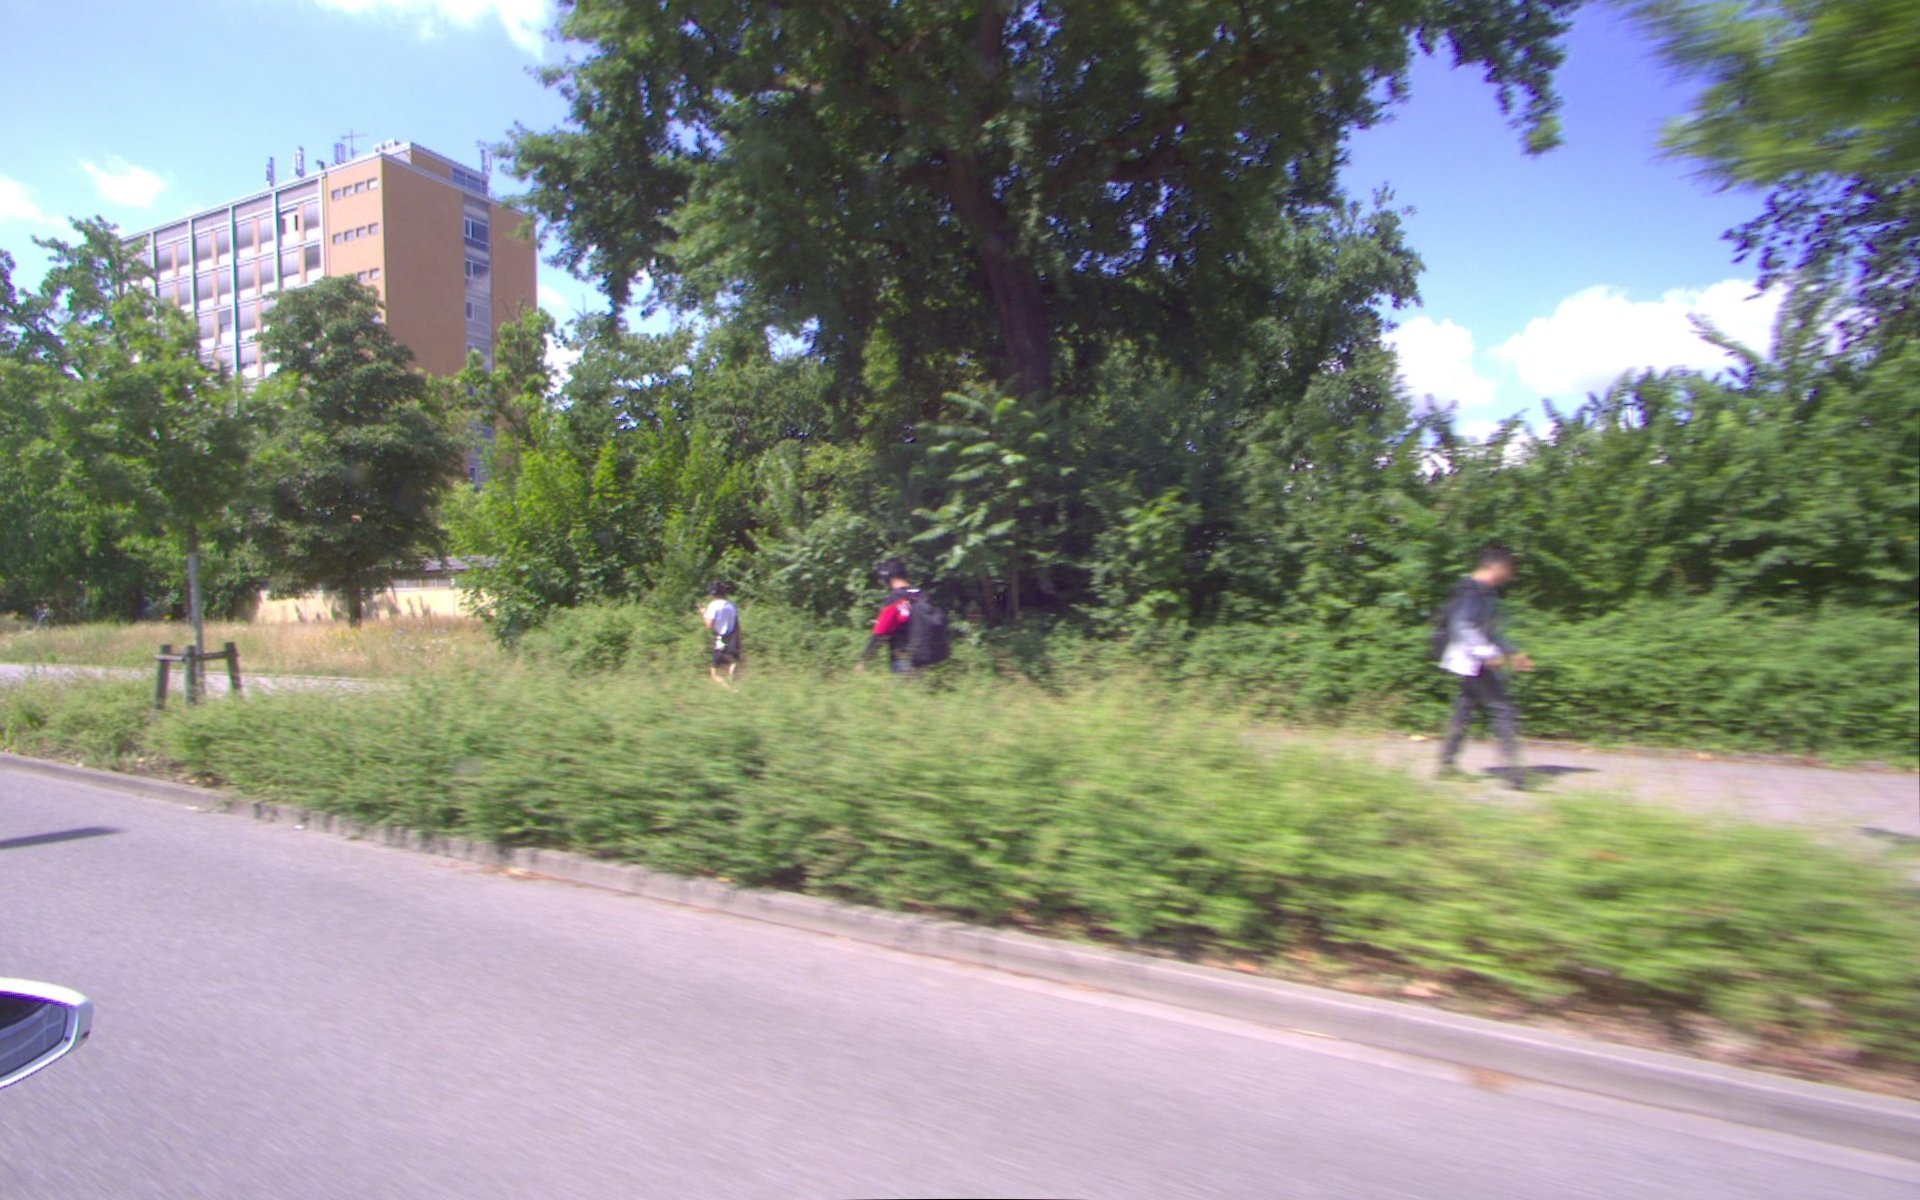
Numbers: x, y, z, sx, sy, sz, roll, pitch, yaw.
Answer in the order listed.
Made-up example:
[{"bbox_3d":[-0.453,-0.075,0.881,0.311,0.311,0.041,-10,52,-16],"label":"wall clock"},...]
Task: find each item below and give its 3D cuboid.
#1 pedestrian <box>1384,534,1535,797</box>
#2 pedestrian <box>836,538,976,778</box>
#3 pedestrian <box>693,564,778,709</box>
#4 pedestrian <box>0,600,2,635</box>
[{"bbox_3d":[3.619,0.442,7.239,0.916,1.744,0.812,0,0,32],"label":"pedestrian"},{"bbox_3d":[-0.412,0.425,7.790,0.825,1.744,0.715,0,0,32],"label":"pedestrian"},{"bbox_3d":[-2.816,0.443,12.590,0.736,1.744,0.721,0,0,32],"label":"pedestrian"},{"bbox_3d":[-56.649,1.014,58.497,0.836,2.085,0.736,-1,1,-31],"label":"pedestrian"}]
